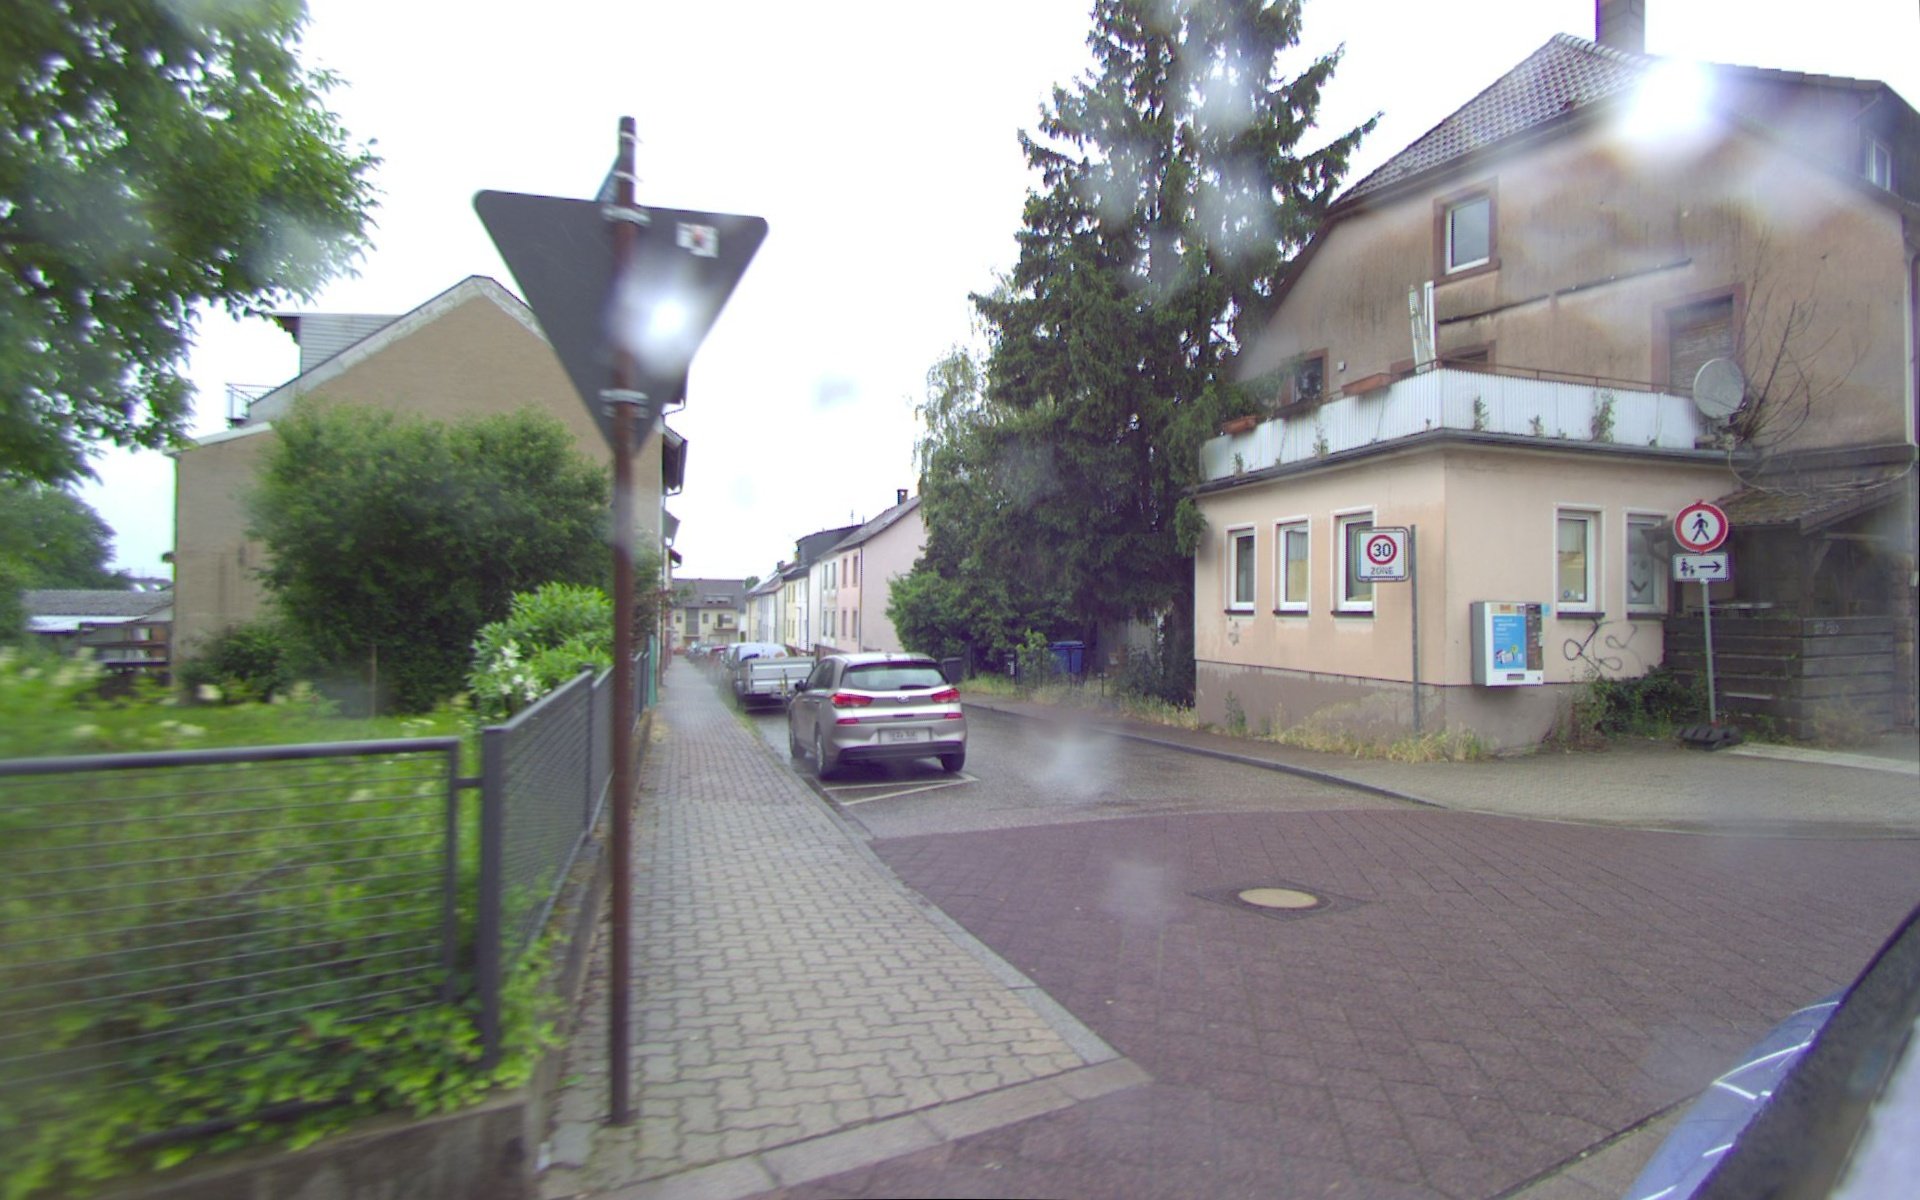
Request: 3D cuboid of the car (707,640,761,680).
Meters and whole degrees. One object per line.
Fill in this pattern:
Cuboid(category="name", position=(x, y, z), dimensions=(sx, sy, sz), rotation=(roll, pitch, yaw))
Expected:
Cuboid(category="car", position=(-9.695, 2.506, 43.218), dimensions=(1.958, 1.591, 4.103), rotation=(0, -2, -17))

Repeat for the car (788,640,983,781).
Cuboid(category="car", position=(-1.138, 1.295, 13.225), dimensions=(1.754, 1.490, 4.007), rotation=(1, -2, -16))

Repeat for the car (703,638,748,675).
Cuboid(category="car", position=(-11.112, 2.629, 47.806), dimensions=(1.958, 1.591, 4.103), rotation=(0, -2, -15))

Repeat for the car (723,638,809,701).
Cuboid(category="car", position=(-5.547, 1.891, 28.570), dimensions=(1.958, 1.591, 4.103), rotation=(0, -2, -17))

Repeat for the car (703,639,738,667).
Cuboid(category="car", position=(-14.503, 3.196, 61.264), dimensions=(1.958, 1.591, 4.103), rotation=(0, -2, -15))

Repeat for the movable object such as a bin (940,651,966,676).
Cuboid(category="movable object such as a bin", position=(-0.226, 2.058, 32.788), dimensions=(0.685, 0.776, 0.744), rotation=(0, -1, -13))

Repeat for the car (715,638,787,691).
Cuboid(category="car", position=(-6.891, 2.051, 33.124), dimensions=(1.958, 1.591, 4.103), rotation=(0, -2, -17))

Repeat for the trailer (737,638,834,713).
Cuboid(category="trailer", position=(-4.291, 1.724, 24.309), dimensions=(1.961, 1.587, 4.554), rotation=(0, -2, -14))
